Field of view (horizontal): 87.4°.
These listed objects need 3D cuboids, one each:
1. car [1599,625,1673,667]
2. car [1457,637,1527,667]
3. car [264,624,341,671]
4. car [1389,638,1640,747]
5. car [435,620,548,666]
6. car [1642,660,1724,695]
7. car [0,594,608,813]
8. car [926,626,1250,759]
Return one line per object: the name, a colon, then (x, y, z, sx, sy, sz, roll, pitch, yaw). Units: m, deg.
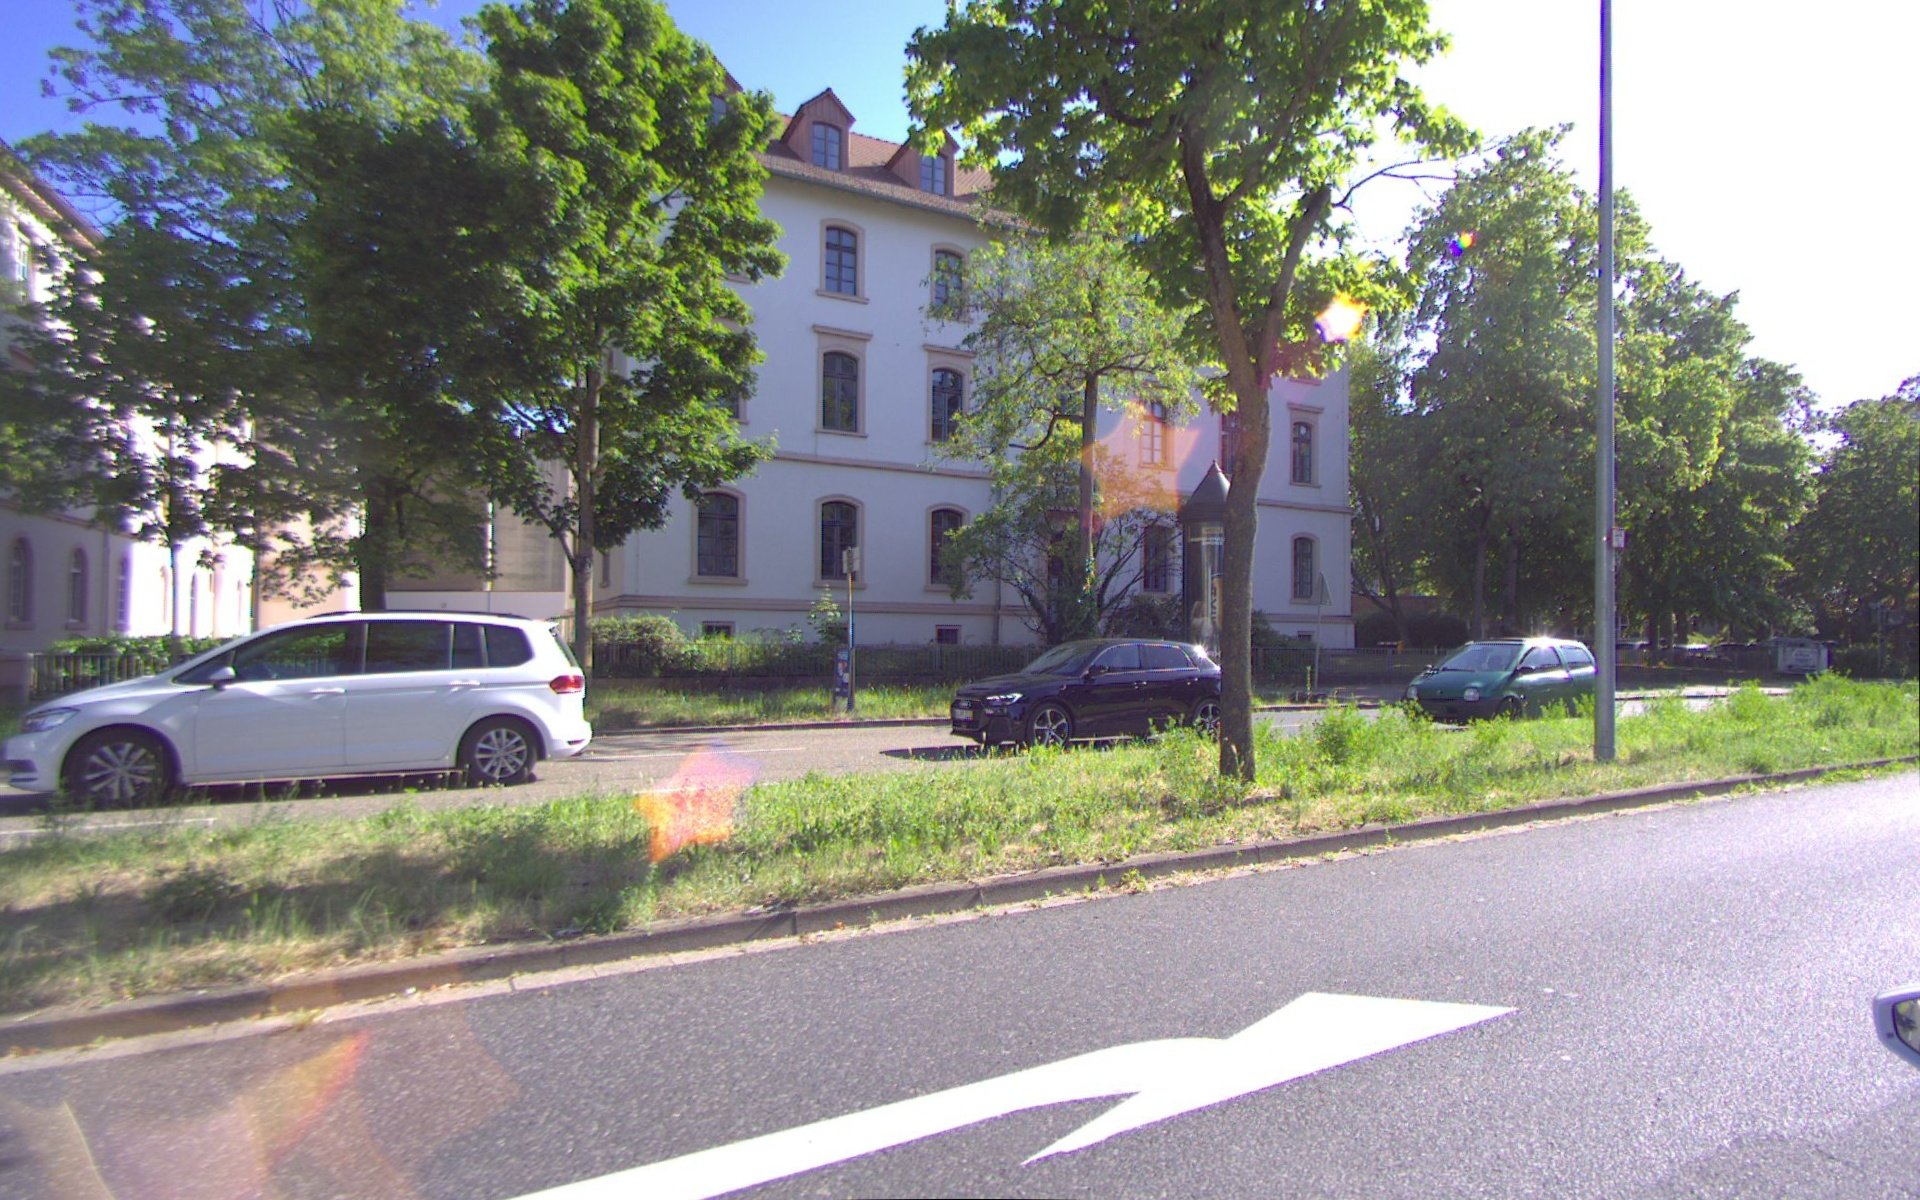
car: (43.617, 2.980, 64.800, 4.926, 2.354, 1.838, 6, -3, -29)
car: (31.835, 3.086, 60.085, 3.953, 1.509, 1.838, 5, -3, -29)
car: (-28.649, 2.055, 43.902, 1.972, 1.817, 3.978, 5, -3, -23)
car: (8.900, 1.397, 16.039, 4.209, 1.539, 1.630, 2, -2, -31)
car: (-22.179, 2.027, 47.712, 4.726, 1.982, 1.988, -1, -1, -25)
car: (36.477, 3.915, 50.683, 3.953, 1.509, 1.838, 5, -3, -29)
car: (-5.801, 0.878, 9.428, 4.480, 1.647, 1.894, 2, -3, -28)
car: (1.740, 1.206, 13.431, 4.037, 1.538, 1.789, 3, -4, -29)
